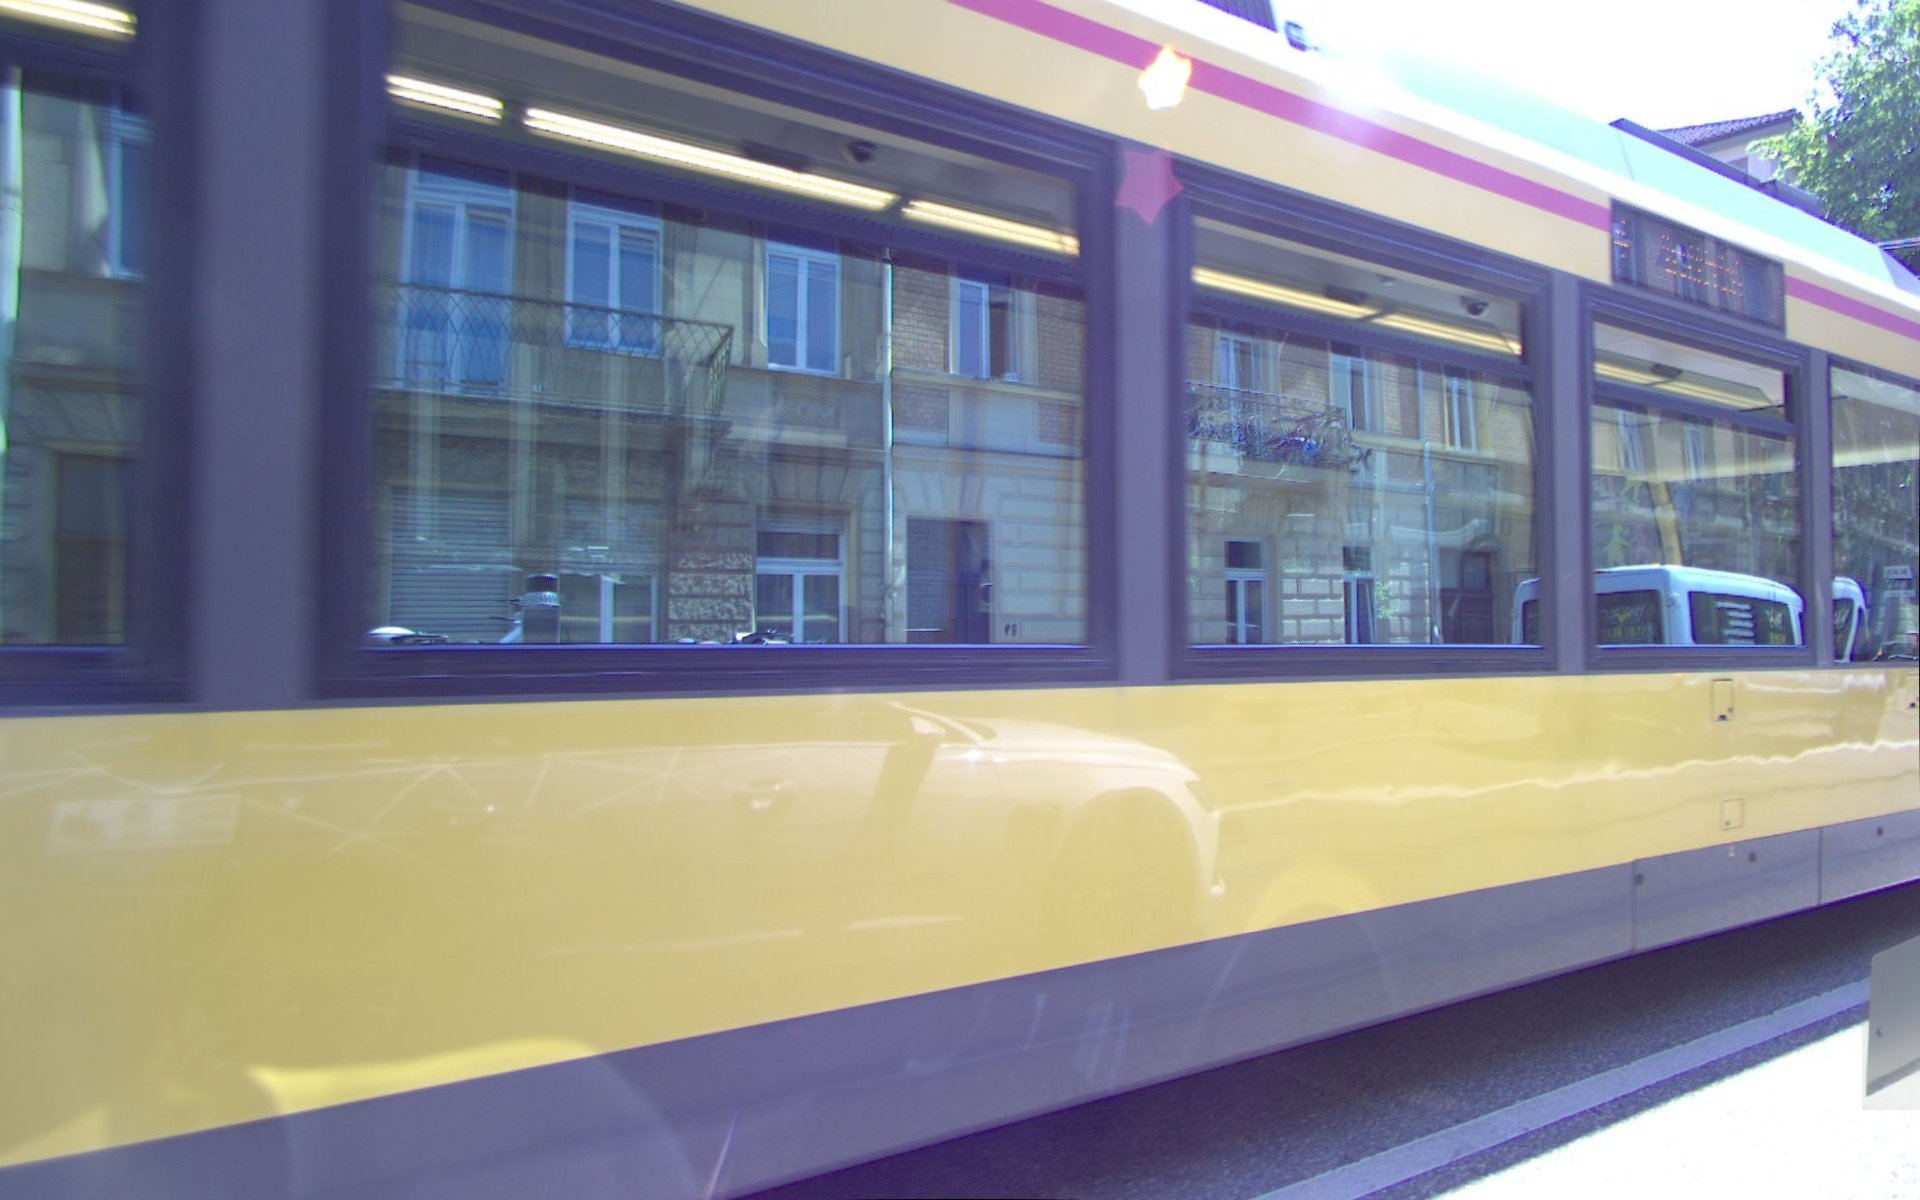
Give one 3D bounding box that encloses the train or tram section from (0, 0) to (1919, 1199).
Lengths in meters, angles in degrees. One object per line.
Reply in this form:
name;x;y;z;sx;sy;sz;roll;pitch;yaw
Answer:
train or tram section;0.173;-0.298;3.792;13.259;3.628;2.948;1;0;-29
